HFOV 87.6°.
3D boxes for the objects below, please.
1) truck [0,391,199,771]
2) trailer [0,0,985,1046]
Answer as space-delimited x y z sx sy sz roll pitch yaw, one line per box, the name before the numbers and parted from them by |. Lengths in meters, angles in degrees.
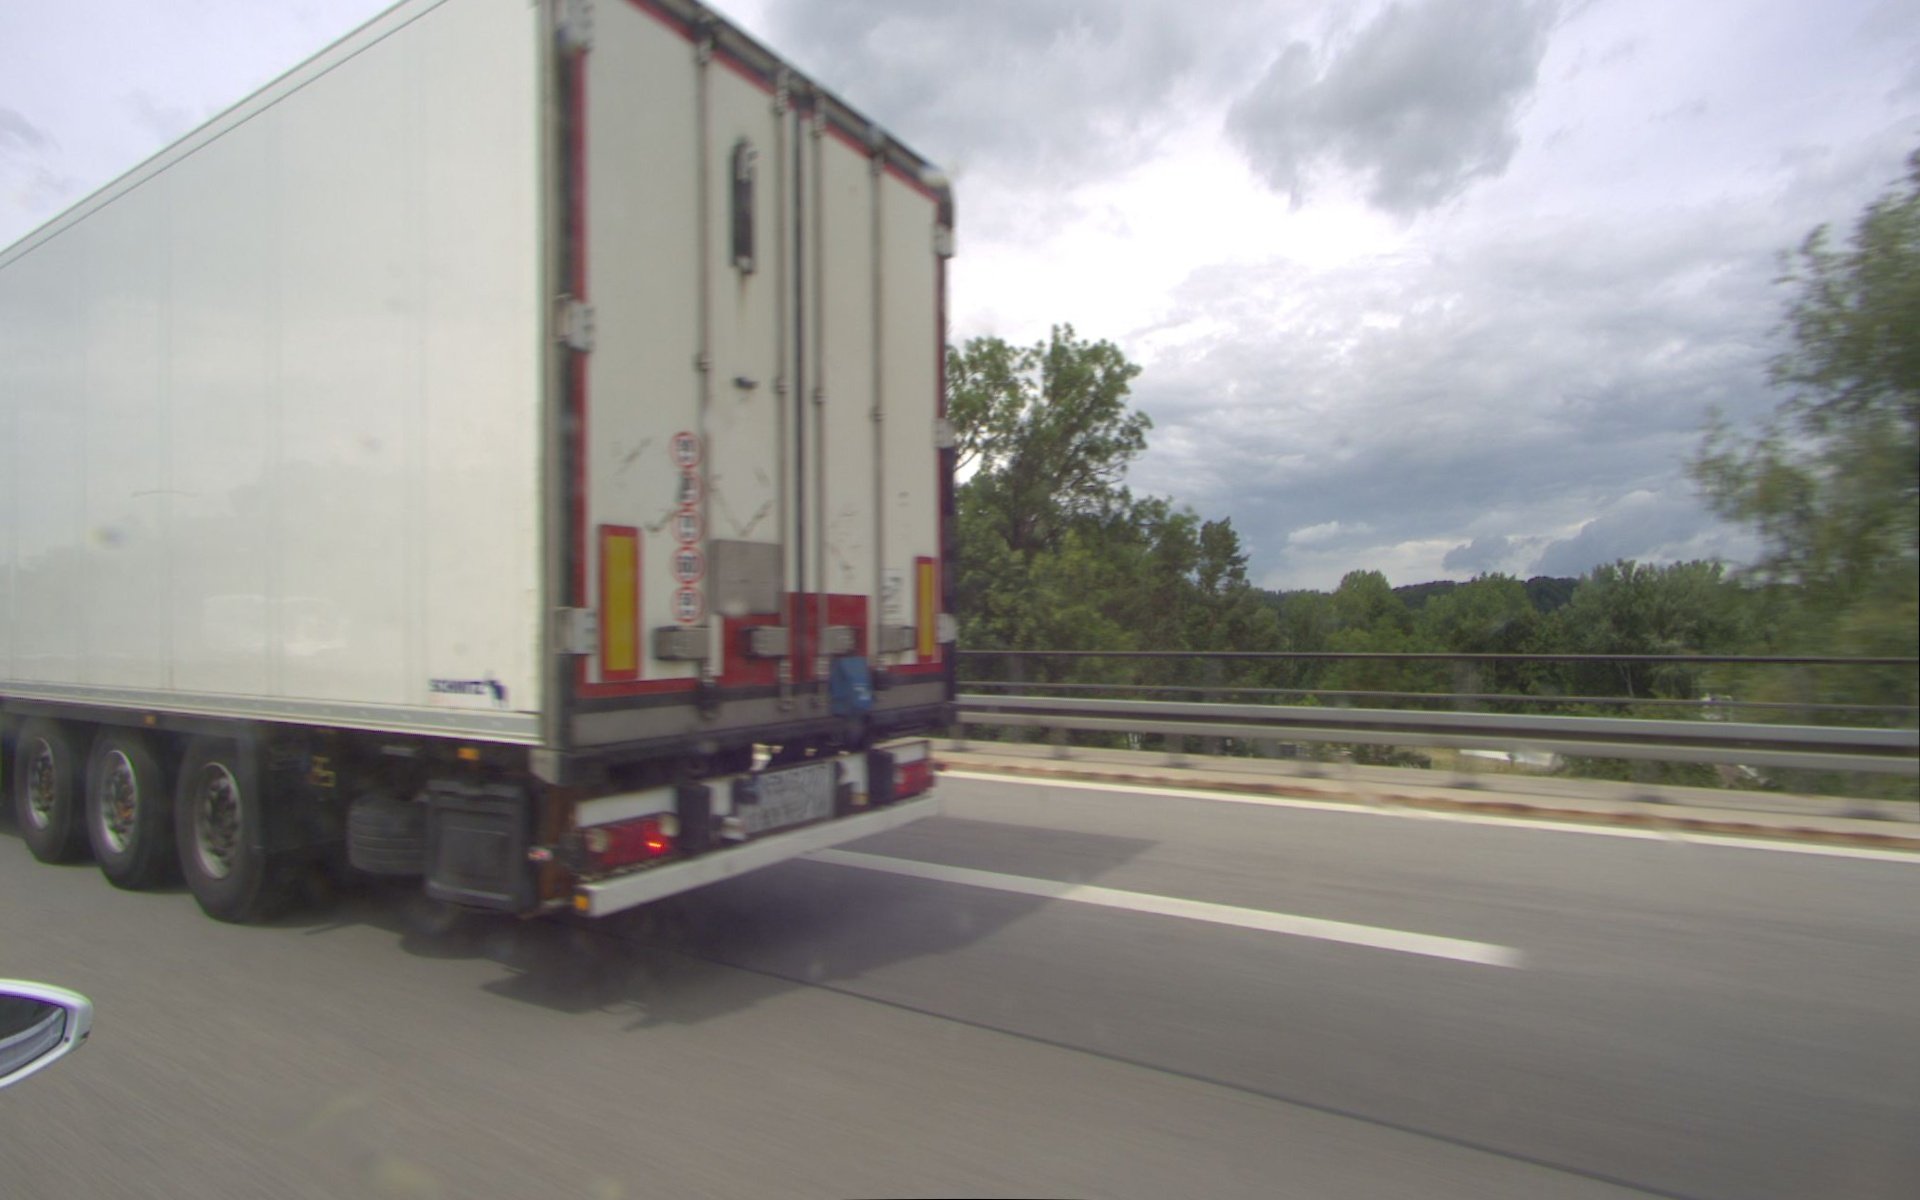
truck | -12.345 -0.134 12.193 5.915 3.942 3.057 -1 -1 33
trailer | -6.374 -0.296 8.372 13.595 3.940 3.056 -1 -2 33
